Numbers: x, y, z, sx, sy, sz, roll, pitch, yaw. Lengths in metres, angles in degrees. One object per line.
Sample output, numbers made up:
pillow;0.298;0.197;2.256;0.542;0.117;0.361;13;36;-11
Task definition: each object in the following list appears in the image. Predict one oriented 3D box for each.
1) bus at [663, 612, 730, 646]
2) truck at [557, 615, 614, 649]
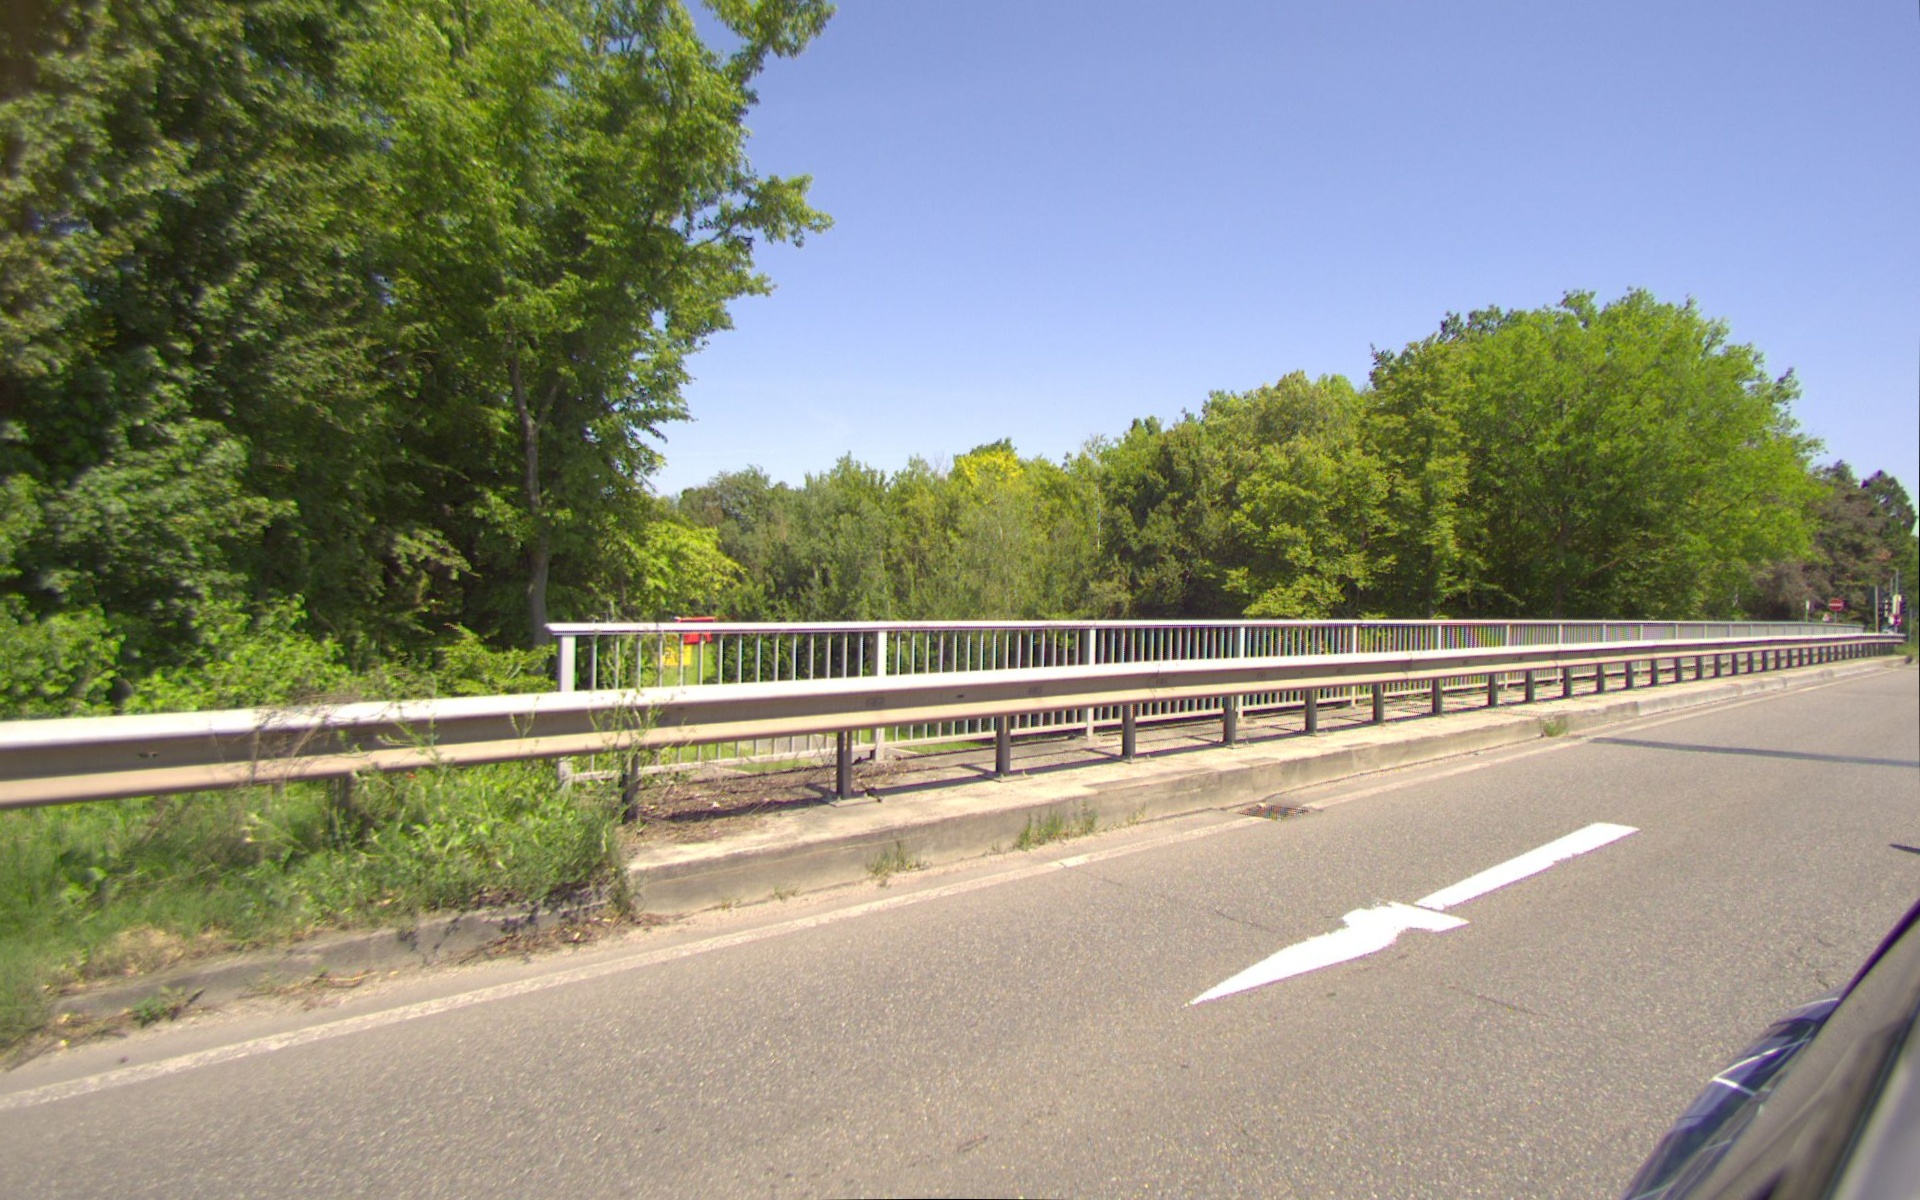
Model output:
bus;-29.389;3.178;113.266;2.262;3.251;8.001;-1;1;30
truck;-36.777;3.074;99.464;2.089;3.121;4.896;2;1;32
